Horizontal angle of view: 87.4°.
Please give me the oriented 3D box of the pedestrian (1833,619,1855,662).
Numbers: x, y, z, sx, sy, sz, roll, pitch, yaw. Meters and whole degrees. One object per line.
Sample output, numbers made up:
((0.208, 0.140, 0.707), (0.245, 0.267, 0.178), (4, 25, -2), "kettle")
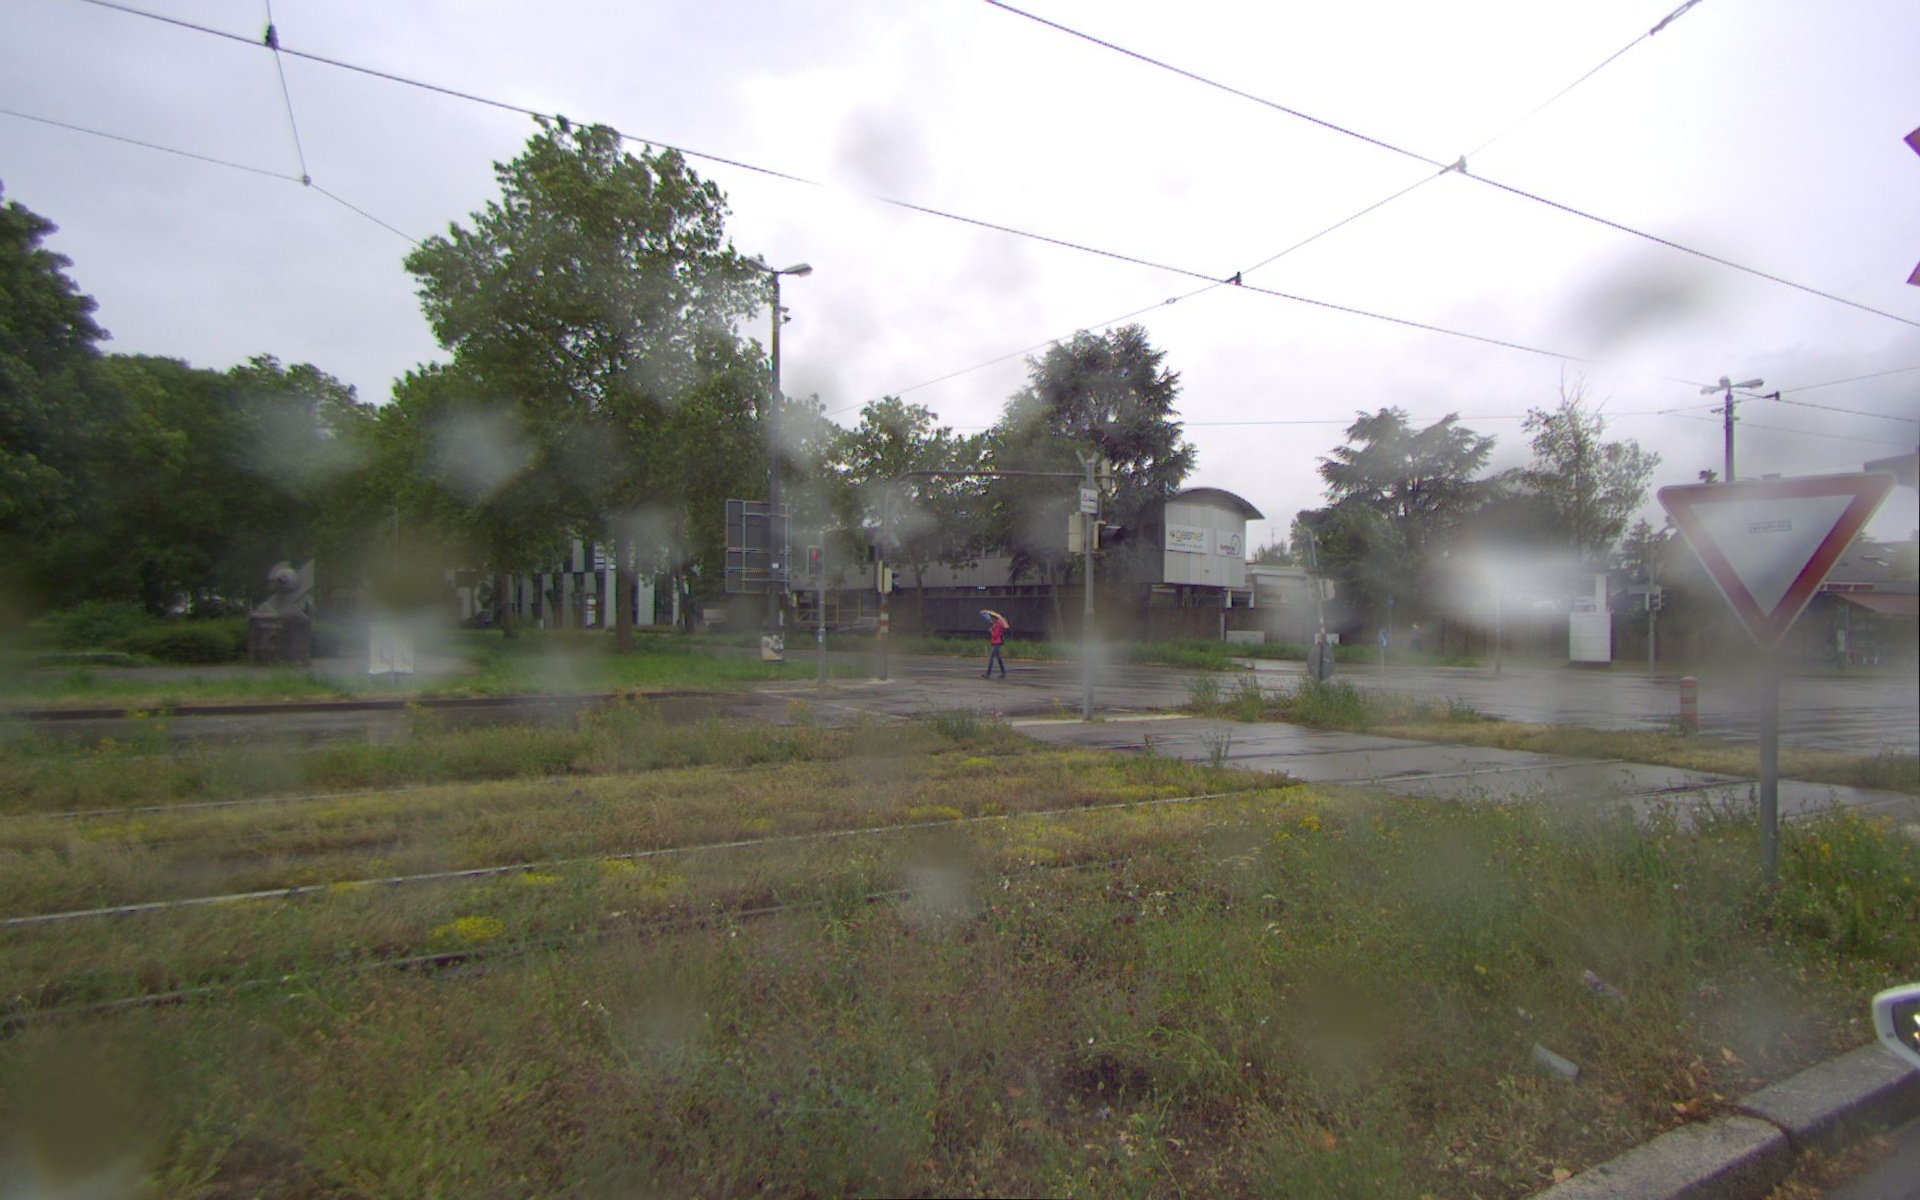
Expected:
((43.022, 1.954, 48.877), (0.714, 2.040, 0.791), (2, 0, 38), "pedestrian")

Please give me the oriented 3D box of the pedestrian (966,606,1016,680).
((0.866, 1.187, 28.099), (0.998, 2.017, 0.945), (2, 0, -34), "pedestrian")

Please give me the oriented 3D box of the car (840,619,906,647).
((-4.987, 1.878, 57.156), (1.679, 1.417, 4.087), (2, 0, -39), "car")

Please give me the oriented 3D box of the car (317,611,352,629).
((-75.293, 2.392, 120.881), (3.932, 2.116, 2.123), (2, 0, 33), "car")

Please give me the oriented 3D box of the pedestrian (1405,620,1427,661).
((21.163, 1.862, 46.590), (0.870, 1.821, 0.726), (2, 1, 26), "pedestrian")

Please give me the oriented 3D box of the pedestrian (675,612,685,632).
((-24.642, 1.937, 88.412), (0.666, 1.690, 0.817), (2, 0, -33), "pedestrian")

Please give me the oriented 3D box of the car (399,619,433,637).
((-59.763, 3.014, 110.244), (3.940, 1.806, 1.990), (2, 0, 41), "car")

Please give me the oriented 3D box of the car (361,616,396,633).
((-65.883, 2.787, 113.866), (3.934, 1.806, 1.993), (2, 0, 36), "car")
